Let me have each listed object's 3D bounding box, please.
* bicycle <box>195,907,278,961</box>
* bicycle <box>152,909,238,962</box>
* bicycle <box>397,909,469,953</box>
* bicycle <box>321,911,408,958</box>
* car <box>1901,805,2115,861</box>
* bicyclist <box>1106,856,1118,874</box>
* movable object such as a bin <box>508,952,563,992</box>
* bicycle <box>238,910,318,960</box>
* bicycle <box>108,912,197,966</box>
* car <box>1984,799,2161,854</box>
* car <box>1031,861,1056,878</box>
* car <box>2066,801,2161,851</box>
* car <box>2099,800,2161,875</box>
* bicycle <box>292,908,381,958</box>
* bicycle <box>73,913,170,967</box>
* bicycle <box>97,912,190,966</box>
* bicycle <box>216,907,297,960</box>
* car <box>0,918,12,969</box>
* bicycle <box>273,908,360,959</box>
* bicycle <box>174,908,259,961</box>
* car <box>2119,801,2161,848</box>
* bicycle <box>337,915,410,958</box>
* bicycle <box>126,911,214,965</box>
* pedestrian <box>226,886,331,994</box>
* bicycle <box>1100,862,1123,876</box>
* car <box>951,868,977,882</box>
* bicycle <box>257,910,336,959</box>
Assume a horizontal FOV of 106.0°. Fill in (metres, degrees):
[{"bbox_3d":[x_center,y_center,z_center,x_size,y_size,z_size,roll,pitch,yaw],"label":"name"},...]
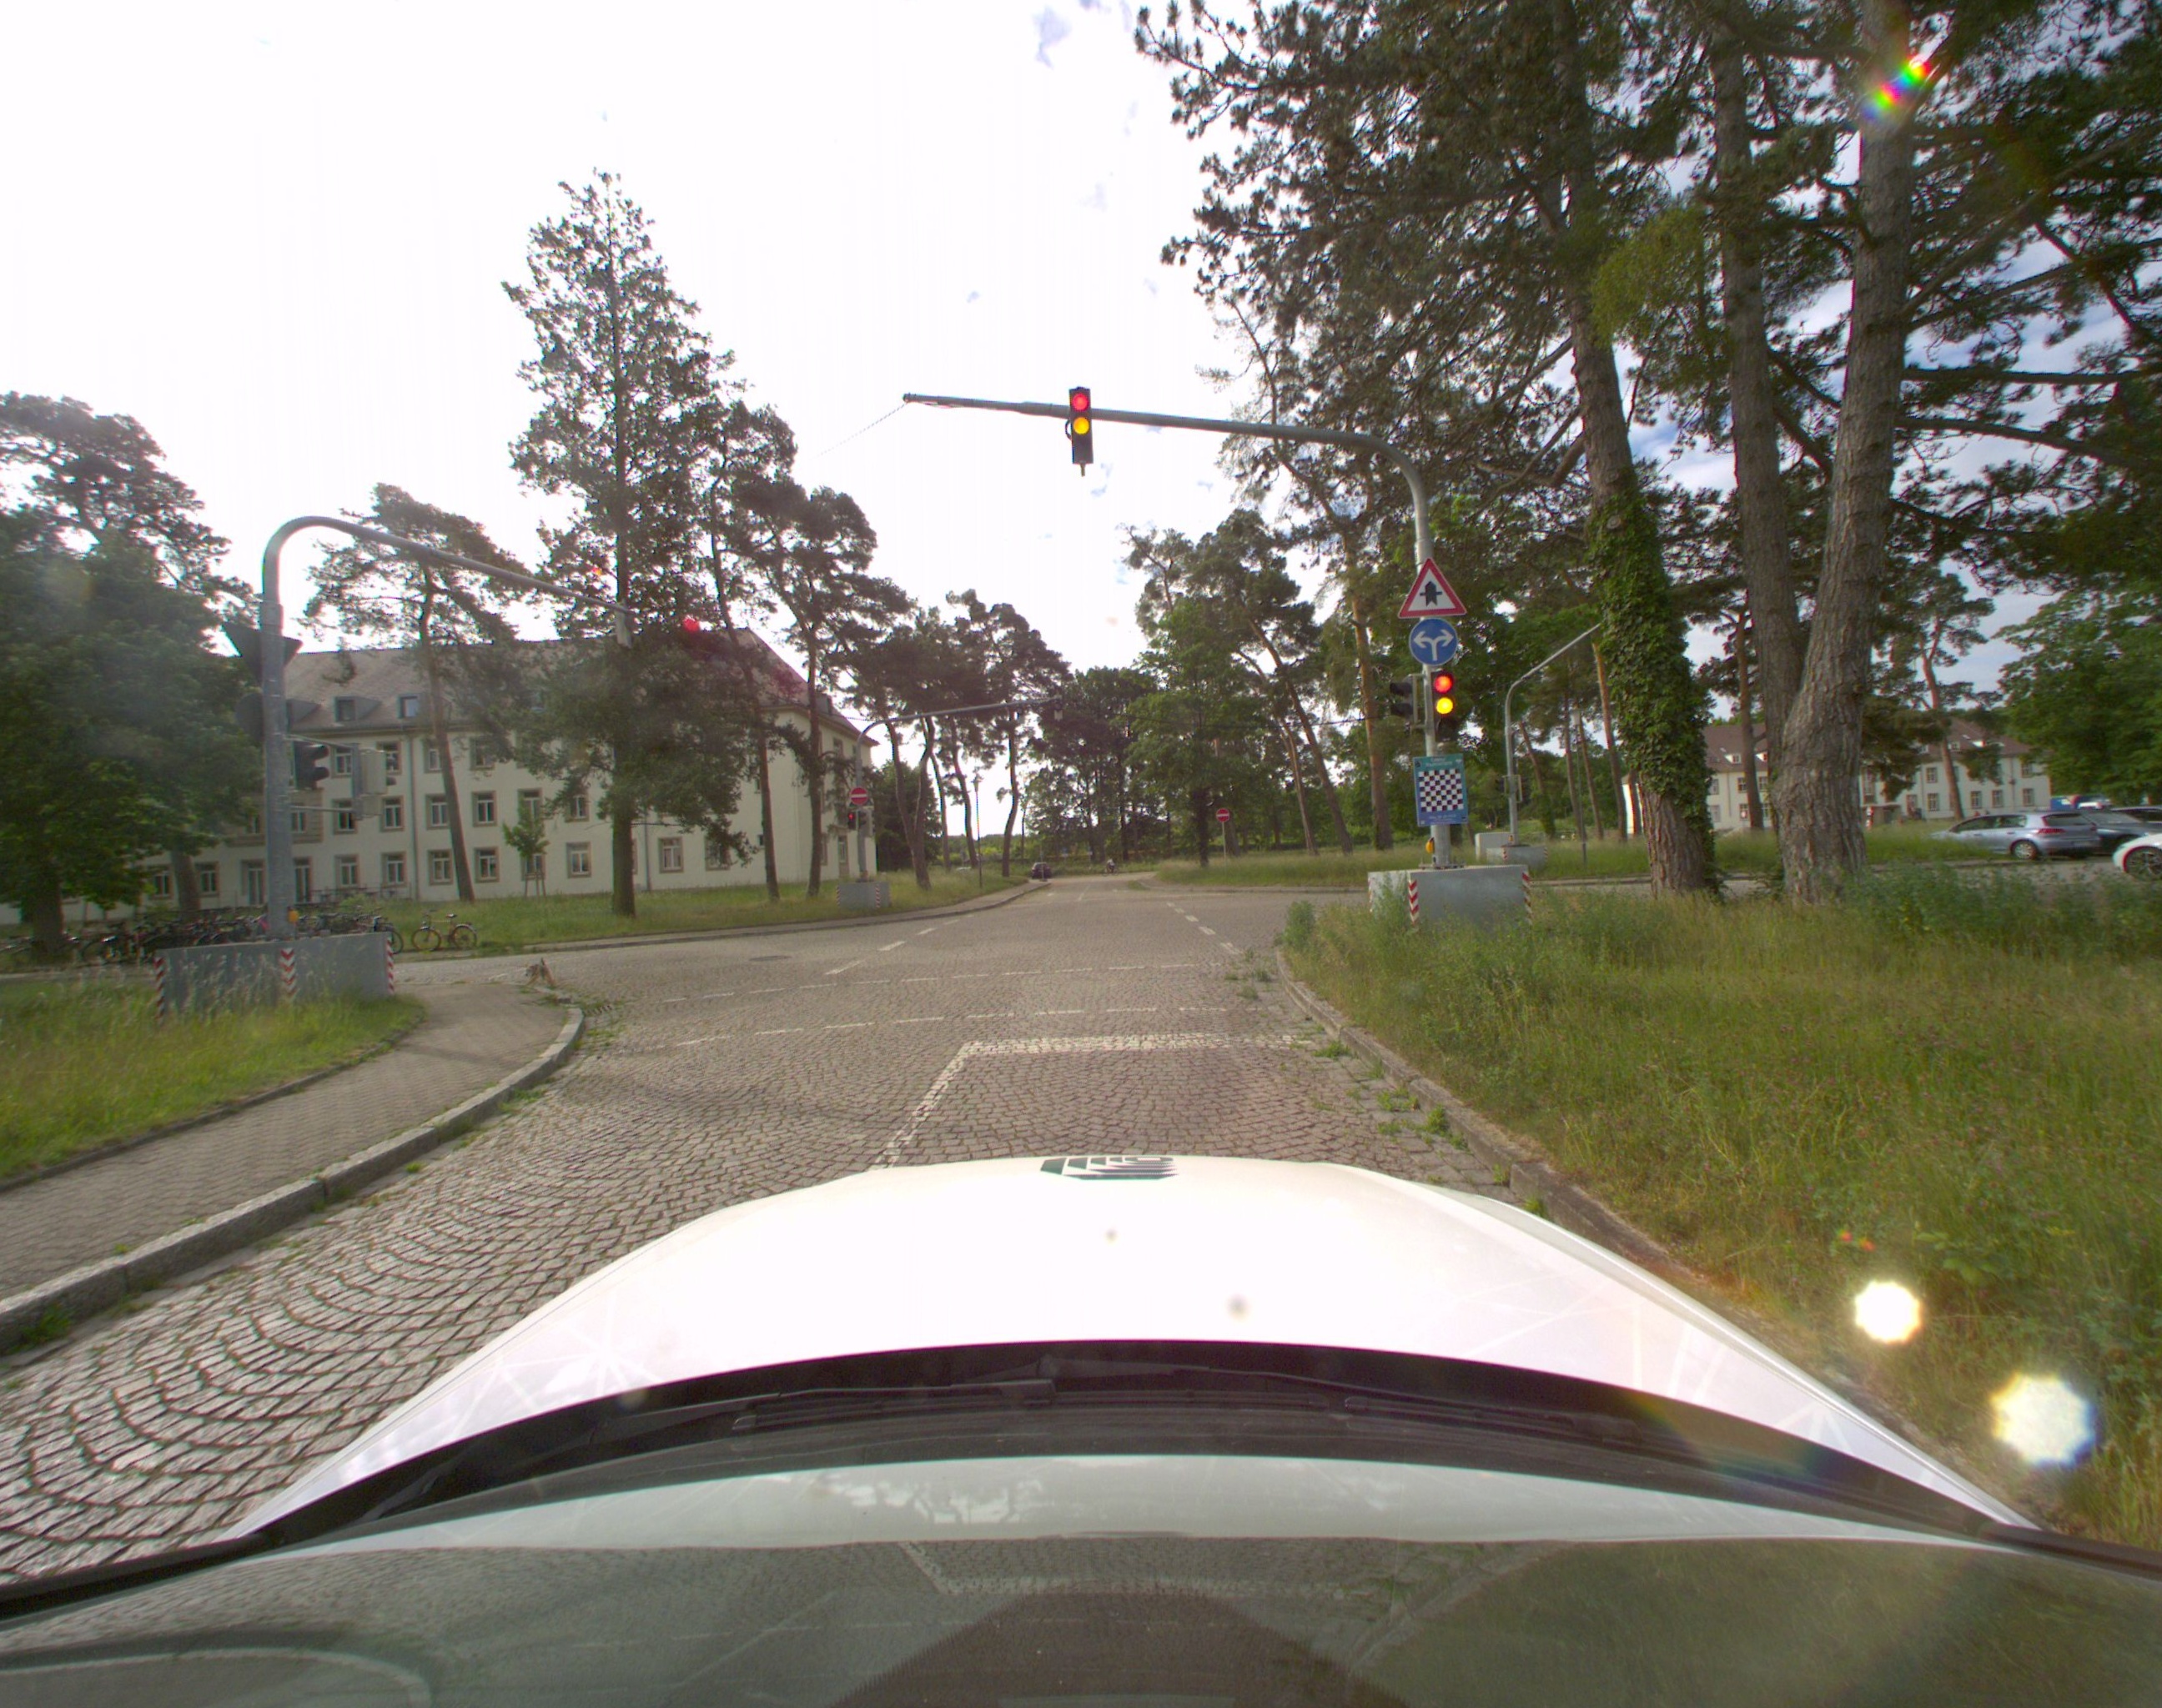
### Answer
[{"bbox_3d":[-23.202,2.177,22.424,0.447,1.283,1.695,-3,0,0],"label":"bicycle"},{"bbox_3d":[-24.281,2.211,22.368,0.447,1.283,1.695,-3,0,0],"label":"bicycle"},{"bbox_3d":[-16.686,1.975,20.979,1.453,0.996,0.452,-3,-1,2],"label":"bicycle"},{"bbox_3d":[-19.705,2.181,22.450,0.573,1.078,1.996,-3,0,0],"label":"bicycle"},{"bbox_3d":[28.914,-0.599,25.653,1.745,1.524,4.451,-3,0,3],"label":"car"},{"bbox_3d":[2.811,0.976,73.731,0.972,1.510,0.807,-3,-1,-2],"label":"bicyclist"},{"bbox_3d":[-8.766,1.888,13.103,0.443,0.503,0.749,-3,0,-11],"label":"movable object such as a bin"},{"bbox_3d":[-21.985,2.189,22.347,0.447,1.178,1.695,-3,0,0],"label":"bicycle"},{"bbox_3d":[-25.430,2.300,22.340,0.447,1.283,1.695,-3,0,0],"label":"bicycle"},{"bbox_3d":[31.327,-0.826,25.181,1.748,1.524,4.443,-3,0,-2],"label":"car"},{"bbox_3d":[-3.556,1.475,78.083,1.985,1.508,4.003,-1,0,3],"label":"car"},{"bbox_3d":[33.978,-0.909,25.100,1.748,1.524,4.444,-3,0,-2],"label":"car"},{"bbox_3d":[21.371,-0.388,14.118,1.748,1.415,4.444,-3,-1,-2],"label":"car"},{"bbox_3d":[-20.404,2.138,22.381,0.573,1.178,1.954,-3,0,0],"label":"bicycle"},{"bbox_3d":[-26.361,2.332,22.414,0.447,1.283,1.827,-3,0,0],"label":"bicycle"},{"bbox_3d":[-25.895,2.319,22.542,0.441,1.283,1.785,-3,0,0],"label":"bicycle"},{"bbox_3d":[-22.697,2.161,22.461,0.447,1.283,1.695,-3,0,0],"label":"bicycle"},{"bbox_3d":[-34.332,2.802,23.446,1.832,1.556,3.899,-3,0,2],"label":"car"},{"bbox_3d":[-20.986,2.157,22.414,0.526,1.178,1.930,-3,0,0],"label":"bicycle"},{"bbox_3d":[-23.718,2.193,22.386,0.447,1.283,1.695,-3,0,0],"label":"bicycle"},{"bbox_3d":[36.436,-1.036,25.647,1.748,1.524,4.444,-3,0,-2],"label":"car"},{"bbox_3d":[-18.207,2.116,20.972,1.453,0.996,0.452,-3,-1,2],"label":"bicycle"},{"bbox_3d":[-24.943,2.285,22.347,0.447,1.283,1.695,-3,0,0],"label":"bicycle"},{"bbox_3d":[-13.415,1.413,13.625,0.852,1.668,0.945,-4,-1,24],"label":"pedestrian"},{"bbox_3d":[2.755,1.352,73.714,1.981,1.095,0.809,-3,0,-3],"label":"bicycle"},{"bbox_3d":[-11.283,2.001,78.977,1.682,1.156,4.003,-3,0,3],"label":"car"},{"bbox_3d":[-21.499,2.186,22.362,0.447,1.178,1.695,-3,0,0],"label":"bicycle"}]
